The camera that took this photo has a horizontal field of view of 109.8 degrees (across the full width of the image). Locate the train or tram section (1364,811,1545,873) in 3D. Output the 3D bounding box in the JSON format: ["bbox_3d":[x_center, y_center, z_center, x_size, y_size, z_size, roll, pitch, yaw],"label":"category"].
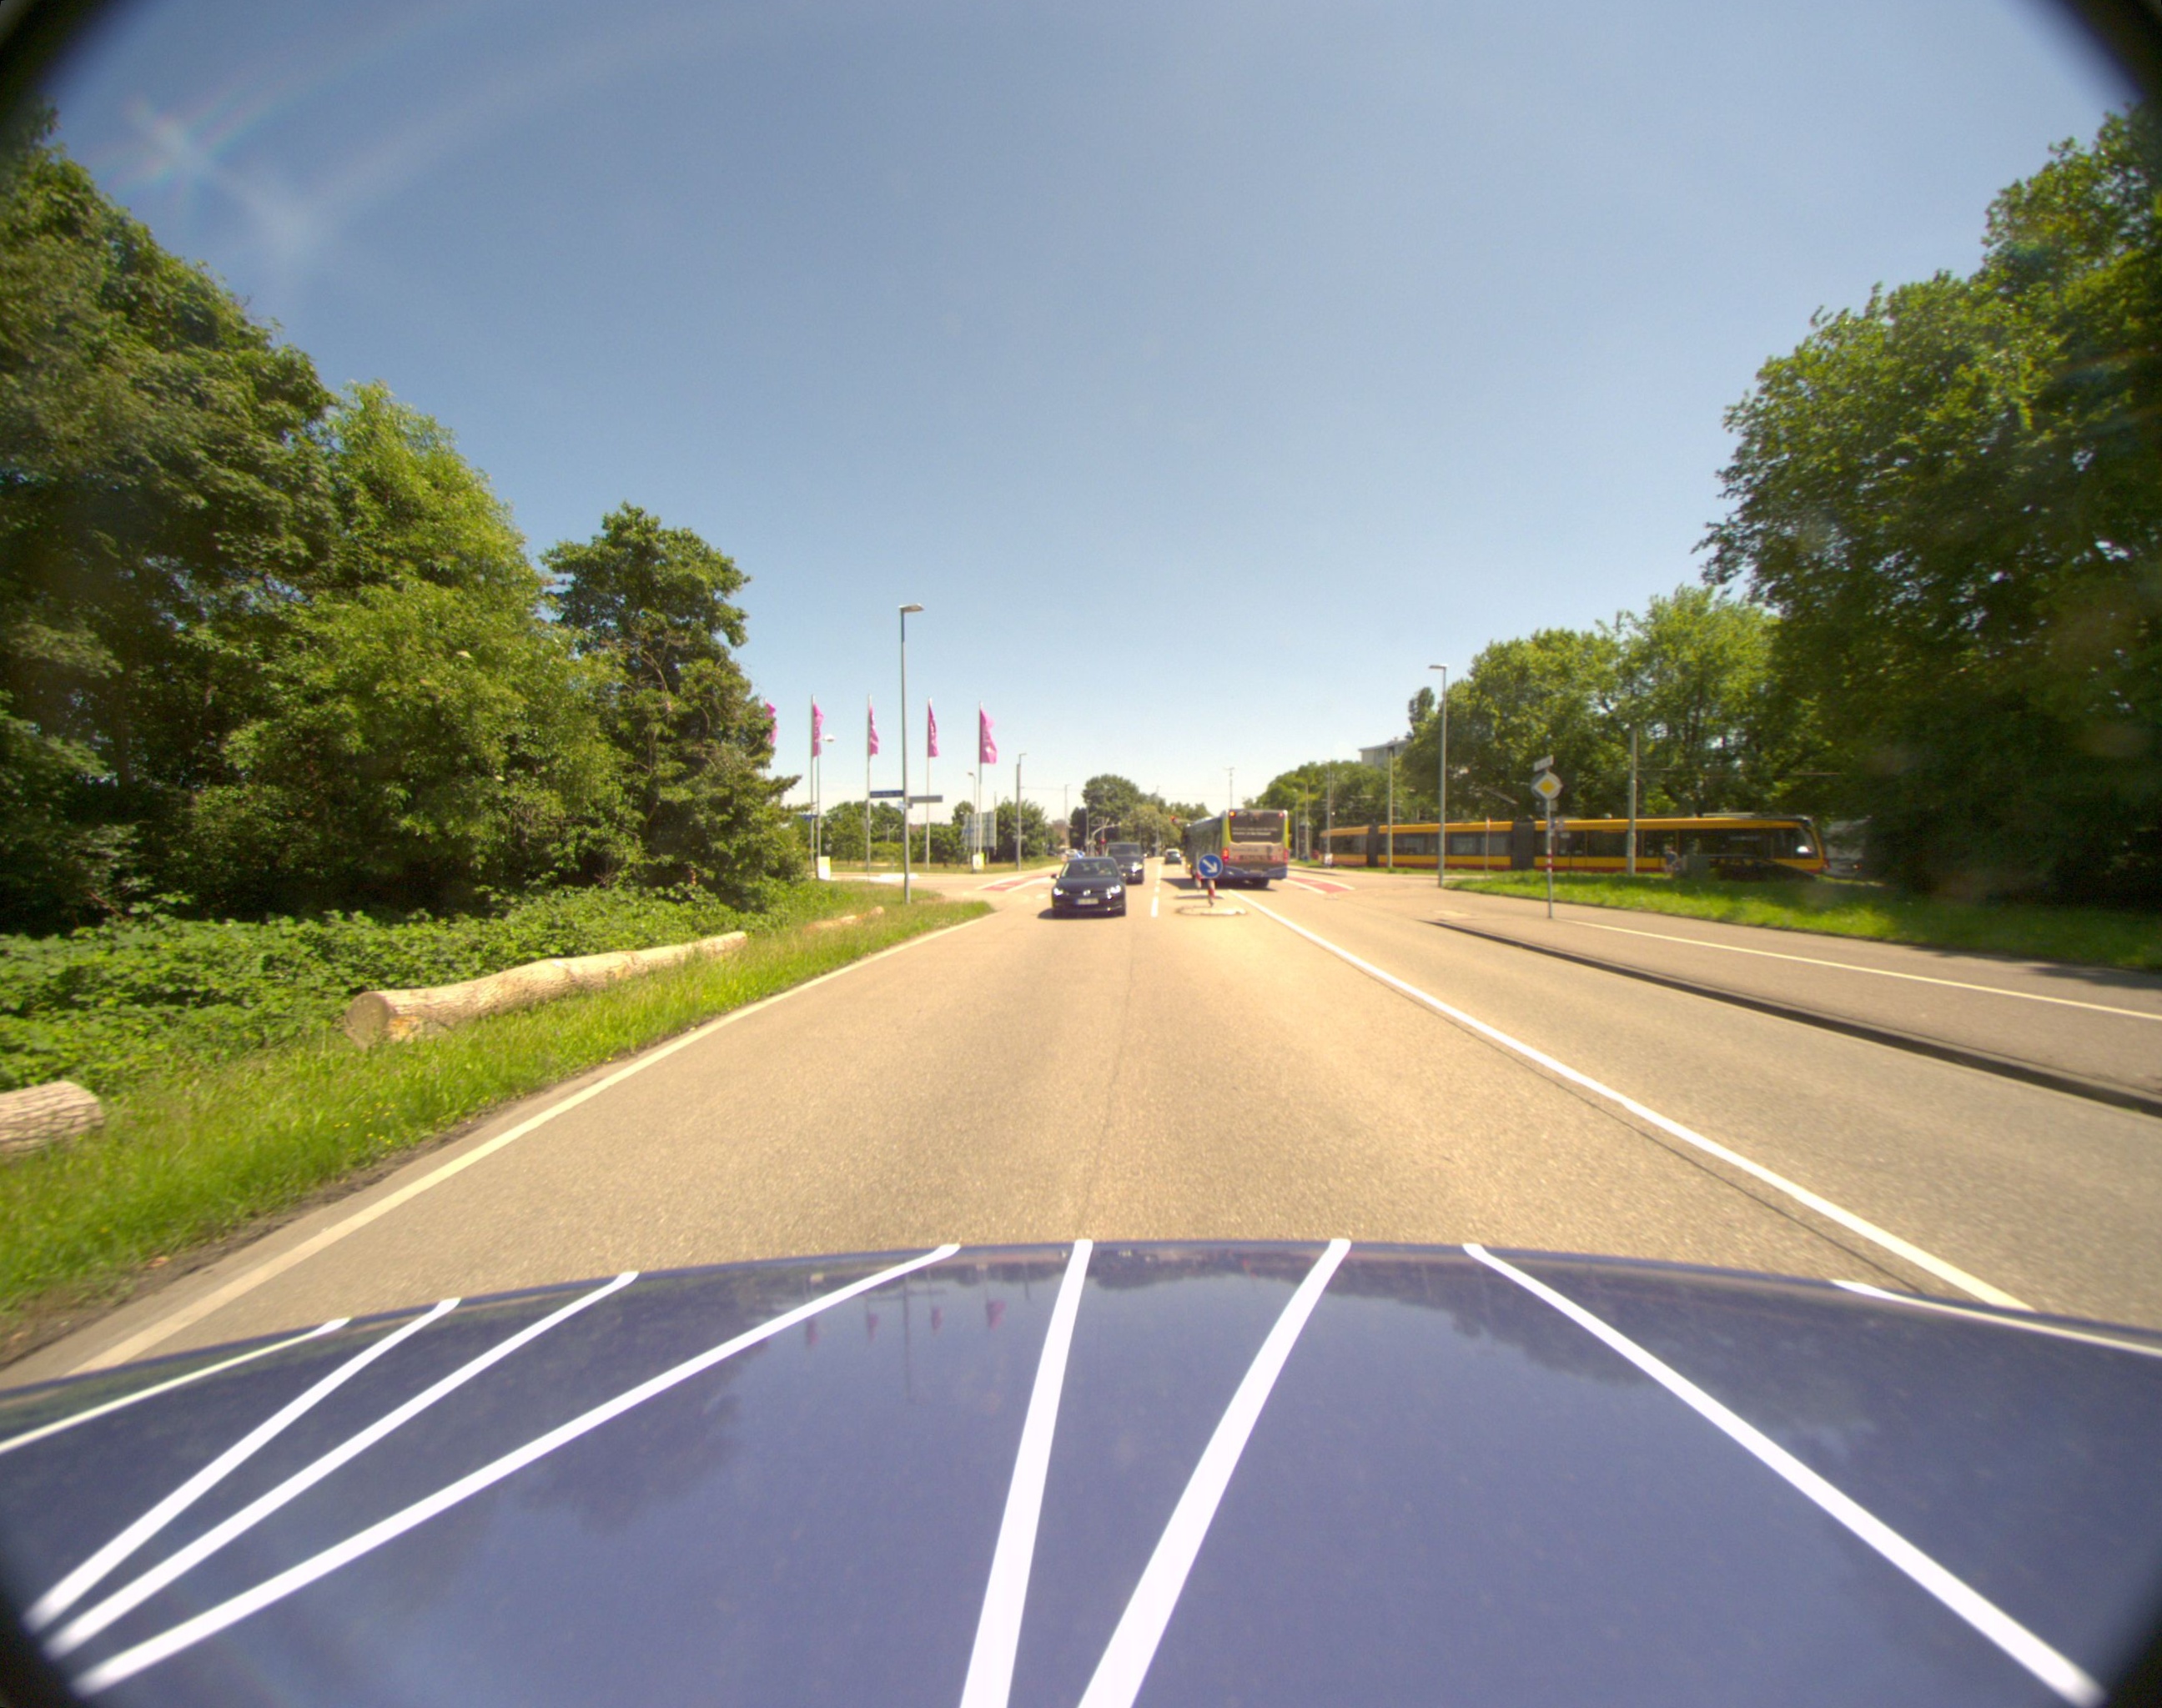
[{"bbox_3d":[24.966,-0.793,51.934,3.030,3.737,11.590,1,0,-26],"label":"train or tram section"}]

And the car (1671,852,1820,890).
[{"bbox_3d":[27.196,0.652,31.245,4.304,1.409,1.668,0,2,15],"label":"car"}]

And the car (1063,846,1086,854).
[{"bbox_3d":[-1.238,-0.862,152.735,4.399,1.567,1.879,0,0,37],"label":"car"}]

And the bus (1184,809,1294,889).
[{"bbox_3d":[6.863,-0.258,35.083,2.756,3.028,11.937,1,1,1],"label":"bus"}]

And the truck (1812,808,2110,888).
[{"bbox_3d":[33.966,-0.259,29.714,7.327,2.893,2.570,0,2,16],"label":"truck"}]

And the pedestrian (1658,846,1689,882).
[{"bbox_3d":[28.575,0.459,36.651,0.809,1.699,0.855,0,0,-1],"label":"pedestrian"}]

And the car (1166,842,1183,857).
[{"bbox_3d":[11.068,-0.546,90.127,1.815,1.713,4.833,-1,0,6],"label":"car"}]

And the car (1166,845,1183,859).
[{"bbox_3d":[10.182,-0.198,82.648,1.726,1.454,3.992,-1,0,6],"label":"car"}]

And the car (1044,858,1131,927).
[{"bbox_3d":[0.274,0.834,18.372,1.708,1.396,4.055,-1,1,6],"label":"car"}]

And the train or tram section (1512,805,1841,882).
[{"bbox_3d":[32.480,-0.624,42.620,14.005,3.737,3.033,1,1,38],"label":"train or tram section"}]

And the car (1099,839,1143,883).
[{"bbox_3d":[1.973,0.287,36.067,1.940,1.920,4.847,-1,1,5],"label":"car"}]

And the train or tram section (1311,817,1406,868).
[{"bbox_3d":[22.644,-0.893,63.044,3.024,3.737,12.992,1,0,0],"label":"train or tram section"}]

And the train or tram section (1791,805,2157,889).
[{"bbox_3d":[44.183,-0.359,37.935,14.181,3.737,3.026,1,1,2],"label":"train or tram section"}]
